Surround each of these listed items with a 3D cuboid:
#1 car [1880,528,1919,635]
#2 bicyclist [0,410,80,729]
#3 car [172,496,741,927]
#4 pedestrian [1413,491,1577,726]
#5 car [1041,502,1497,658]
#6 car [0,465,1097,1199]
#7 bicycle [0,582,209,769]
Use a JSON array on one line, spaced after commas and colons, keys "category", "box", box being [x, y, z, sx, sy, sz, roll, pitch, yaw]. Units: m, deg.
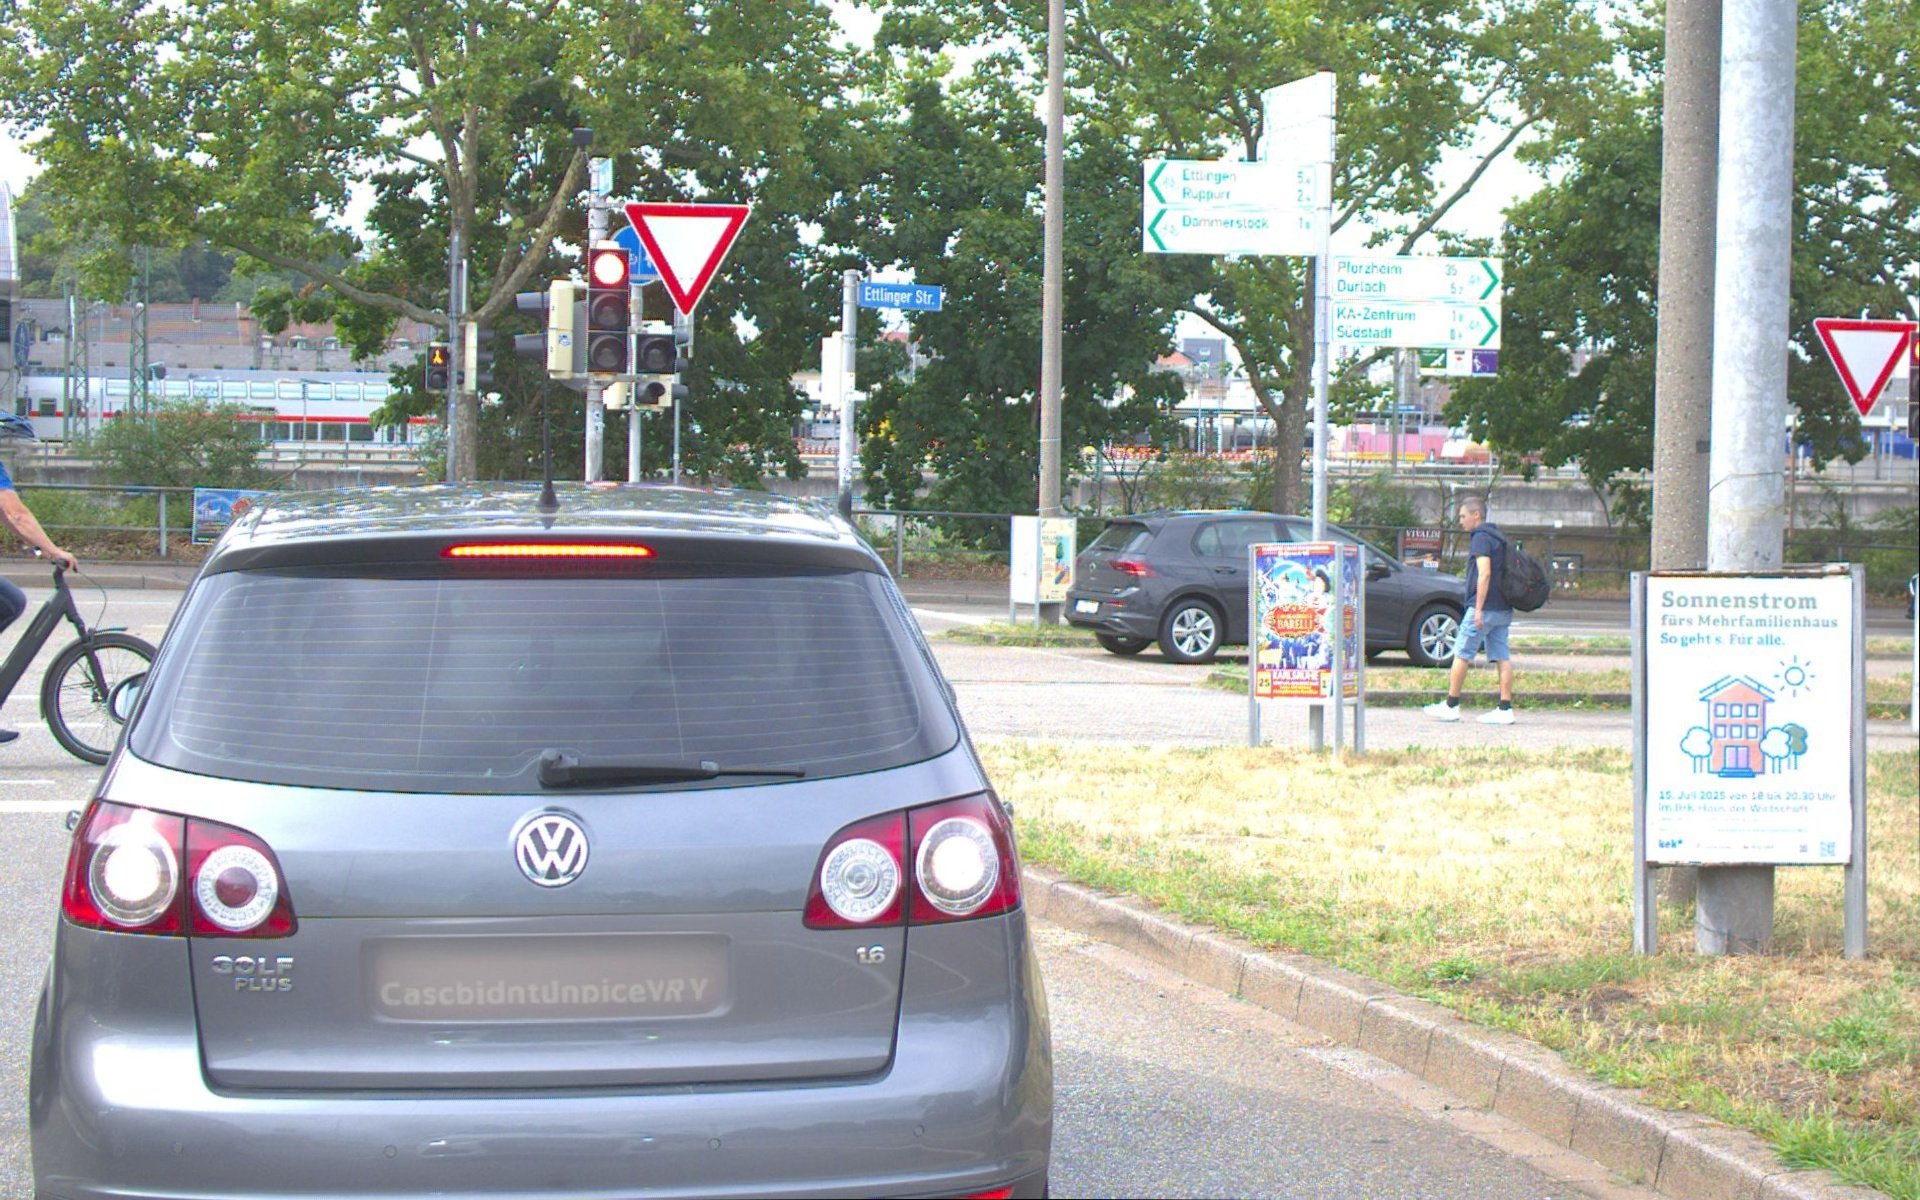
[{"category": "car", "box": [14.851, -0.250, 47.321, 3.950, 1.443, 1.703, 0, 2, -20]}, {"category": "bicyclist", "box": [-5.141, -0.171, 18.178, 0.880, 1.650, 0.812, 0, 2, -19]}, {"category": "car", "box": [-2.186, 0.334, 13.953, 1.740, 1.477, 4.083, 0, 1, -16]}, {"category": "pedestrian", "box": [4.037, 0.049, 25.887, 1.048, 1.704, 0.853, 2, 2, 17]}, {"category": "car", "box": [2.999, -0.196, 33.479, 4.056, 1.445, 1.703, 0, 2, -19]}, {"category": "car", "box": [-0.954, 0.527, 7.237, 1.740, 1.541, 4.083, 1, 1, -8]}, {"category": "bicycle", "box": [-5.158, 0.389, 18.191, 2.227, 0.949, 0.812, 0, 2, -19]}]
